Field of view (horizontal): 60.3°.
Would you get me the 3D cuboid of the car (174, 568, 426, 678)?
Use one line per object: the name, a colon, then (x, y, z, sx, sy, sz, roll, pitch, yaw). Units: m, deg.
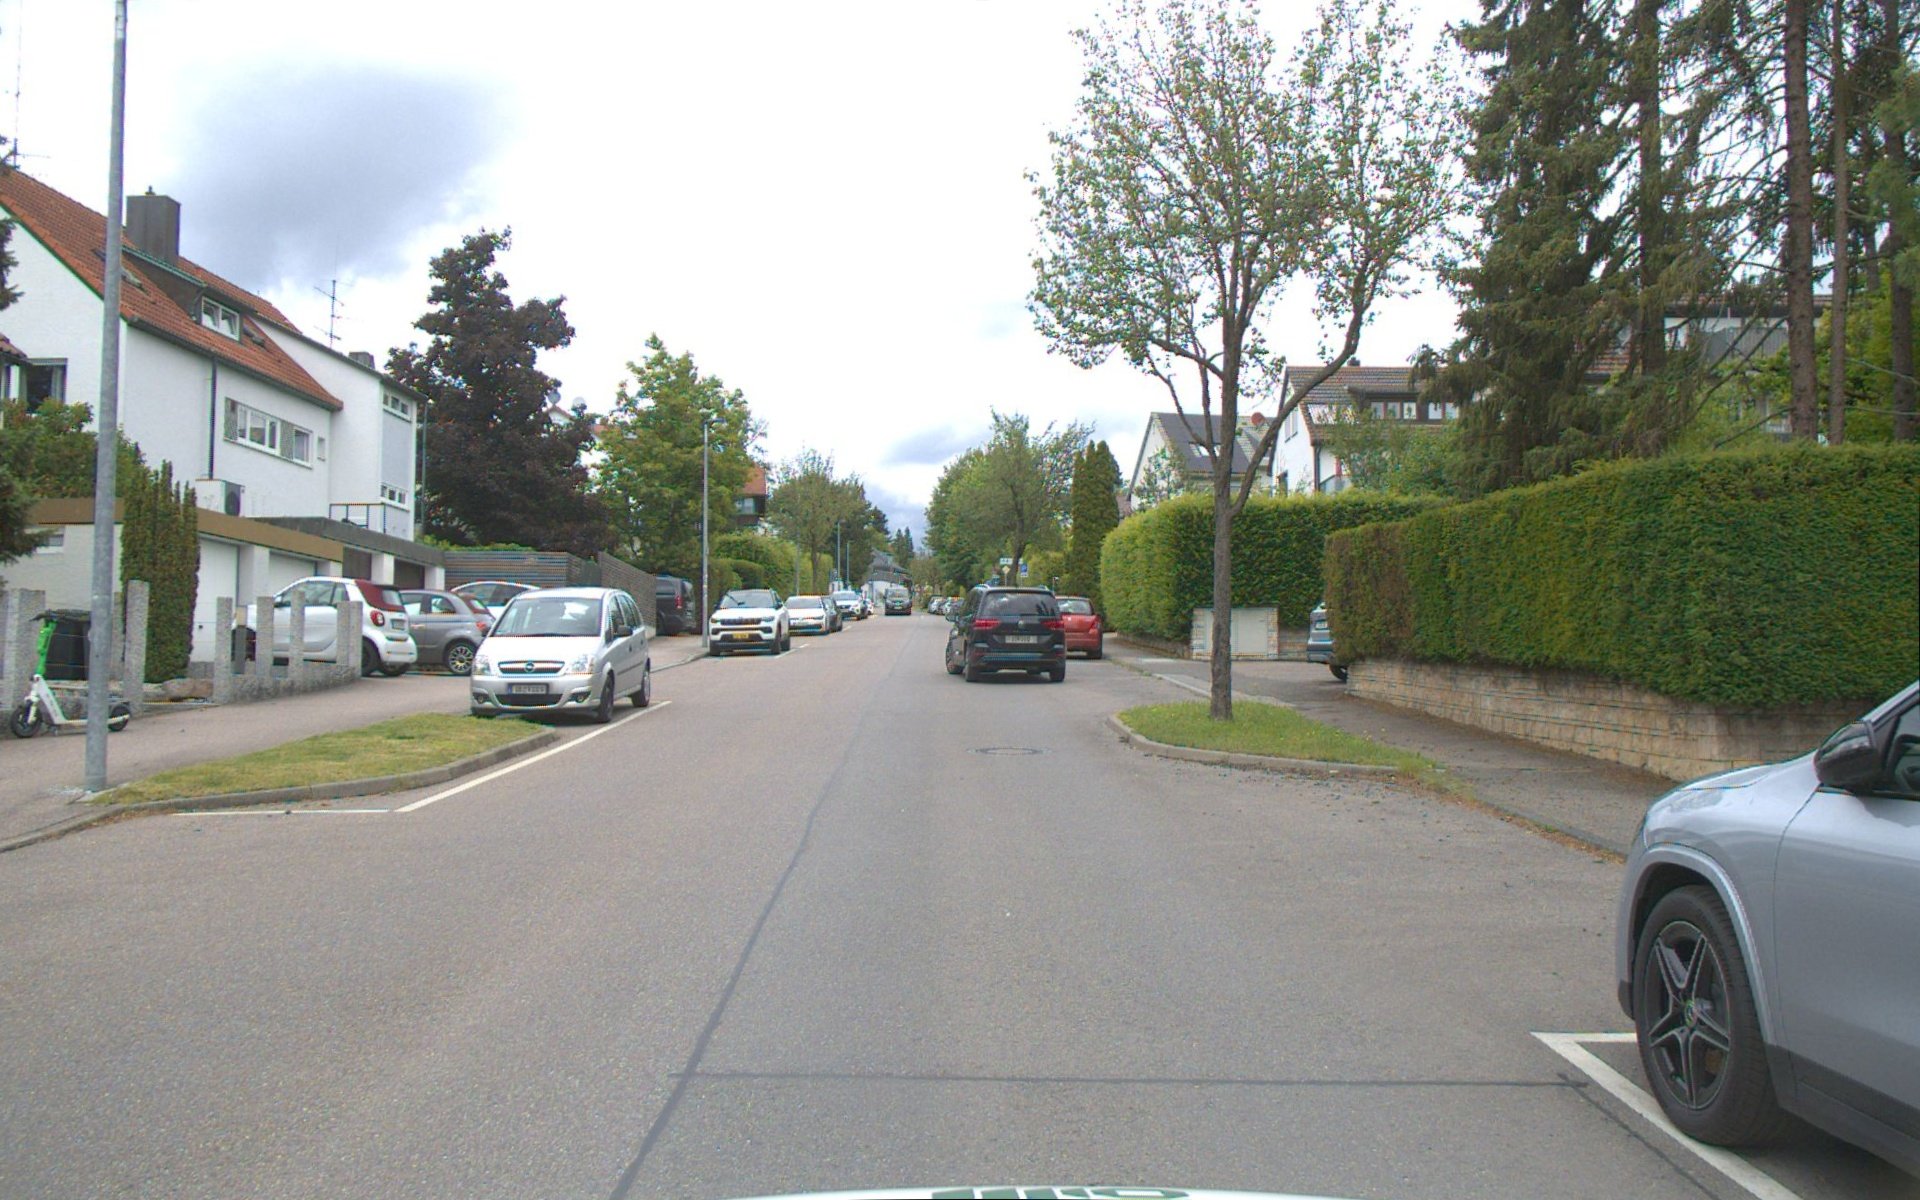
car: (-10.674, 0.381, 26.895, 3.359, 1.606, 1.656, 2, -1, 0)

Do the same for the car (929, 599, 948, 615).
car: (-2.128, 0.674, 161.057, 1.632, 1.527, 3.464, 0, 0, -5)

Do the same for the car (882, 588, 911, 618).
car: (-4.253, 0.190, 110.850, 1.847, 1.883, 4.400, -1, 0, -1)

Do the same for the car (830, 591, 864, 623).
car: (-5.841, 0.346, 85.866, 1.688, 1.567, 3.998, -1, 0, -3)

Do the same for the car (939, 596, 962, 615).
car: (-0.809, 0.468, 139.751, 1.632, 1.527, 3.464, 0, 0, -5)

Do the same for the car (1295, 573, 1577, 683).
car: (7.945, 0.431, 27.750, 4.131, 1.627, 1.878, -2, 1, -10)

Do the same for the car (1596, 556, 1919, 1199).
car: (3.090, 0.714, 3.383, 1.818, 1.610, 4.169, 1, 0, -3)

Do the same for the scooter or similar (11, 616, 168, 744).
scooter or similar: (-8.484, 0.752, 16.177, 0.464, 1.168, 1.455, 2, 0, 15)

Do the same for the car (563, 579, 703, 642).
car: (-10.518, 0.360, 53.361, 3.986, 1.984, 2.001, 0, -1, 7)

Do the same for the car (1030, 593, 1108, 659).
car: (2.649, 0.602, 40.730, 1.627, 1.534, 3.758, 0, 0, -1)

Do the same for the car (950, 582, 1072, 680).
car: (0.852, 0.535, 30.100, 1.811, 1.640, 4.307, 0, 0, -4)

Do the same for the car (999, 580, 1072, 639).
car: (2.256, 0.276, 50.451, 1.953, 1.646, 4.513, 2, 0, 0)

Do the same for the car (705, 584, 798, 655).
car: (-5.352, 0.468, 42.897, 1.800, 1.695, 4.408, -2, 0, 0)

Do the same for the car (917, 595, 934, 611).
car: (-3.817, 0.334, 183.325, 1.611, 1.697, 3.464, 0, 0, -5)

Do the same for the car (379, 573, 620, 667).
car: (-9.328, 0.396, 33.769, 4.323, 1.657, 1.910, 3, 0, -2)

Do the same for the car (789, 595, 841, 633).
car: (-5.759, 0.561, 66.156, 1.692, 1.448, 4.079, -1, 0, 0)

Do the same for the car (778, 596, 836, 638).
car: (-5.634, 0.608, 61.447, 1.800, 1.447, 4.407, -2, 0, -1)

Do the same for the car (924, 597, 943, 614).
car: (-2.702, 0.560, 167.867, 1.632, 1.697, 3.464, 0, 0, -5)

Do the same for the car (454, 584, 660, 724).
car: (-5.035, 0.620, 21.155, 1.725, 1.590, 3.854, -1, 0, -1)

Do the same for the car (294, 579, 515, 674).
car: (-9.999, 0.480, 29.931, 3.359, 1.539, 1.692, 2, -1, 0)
